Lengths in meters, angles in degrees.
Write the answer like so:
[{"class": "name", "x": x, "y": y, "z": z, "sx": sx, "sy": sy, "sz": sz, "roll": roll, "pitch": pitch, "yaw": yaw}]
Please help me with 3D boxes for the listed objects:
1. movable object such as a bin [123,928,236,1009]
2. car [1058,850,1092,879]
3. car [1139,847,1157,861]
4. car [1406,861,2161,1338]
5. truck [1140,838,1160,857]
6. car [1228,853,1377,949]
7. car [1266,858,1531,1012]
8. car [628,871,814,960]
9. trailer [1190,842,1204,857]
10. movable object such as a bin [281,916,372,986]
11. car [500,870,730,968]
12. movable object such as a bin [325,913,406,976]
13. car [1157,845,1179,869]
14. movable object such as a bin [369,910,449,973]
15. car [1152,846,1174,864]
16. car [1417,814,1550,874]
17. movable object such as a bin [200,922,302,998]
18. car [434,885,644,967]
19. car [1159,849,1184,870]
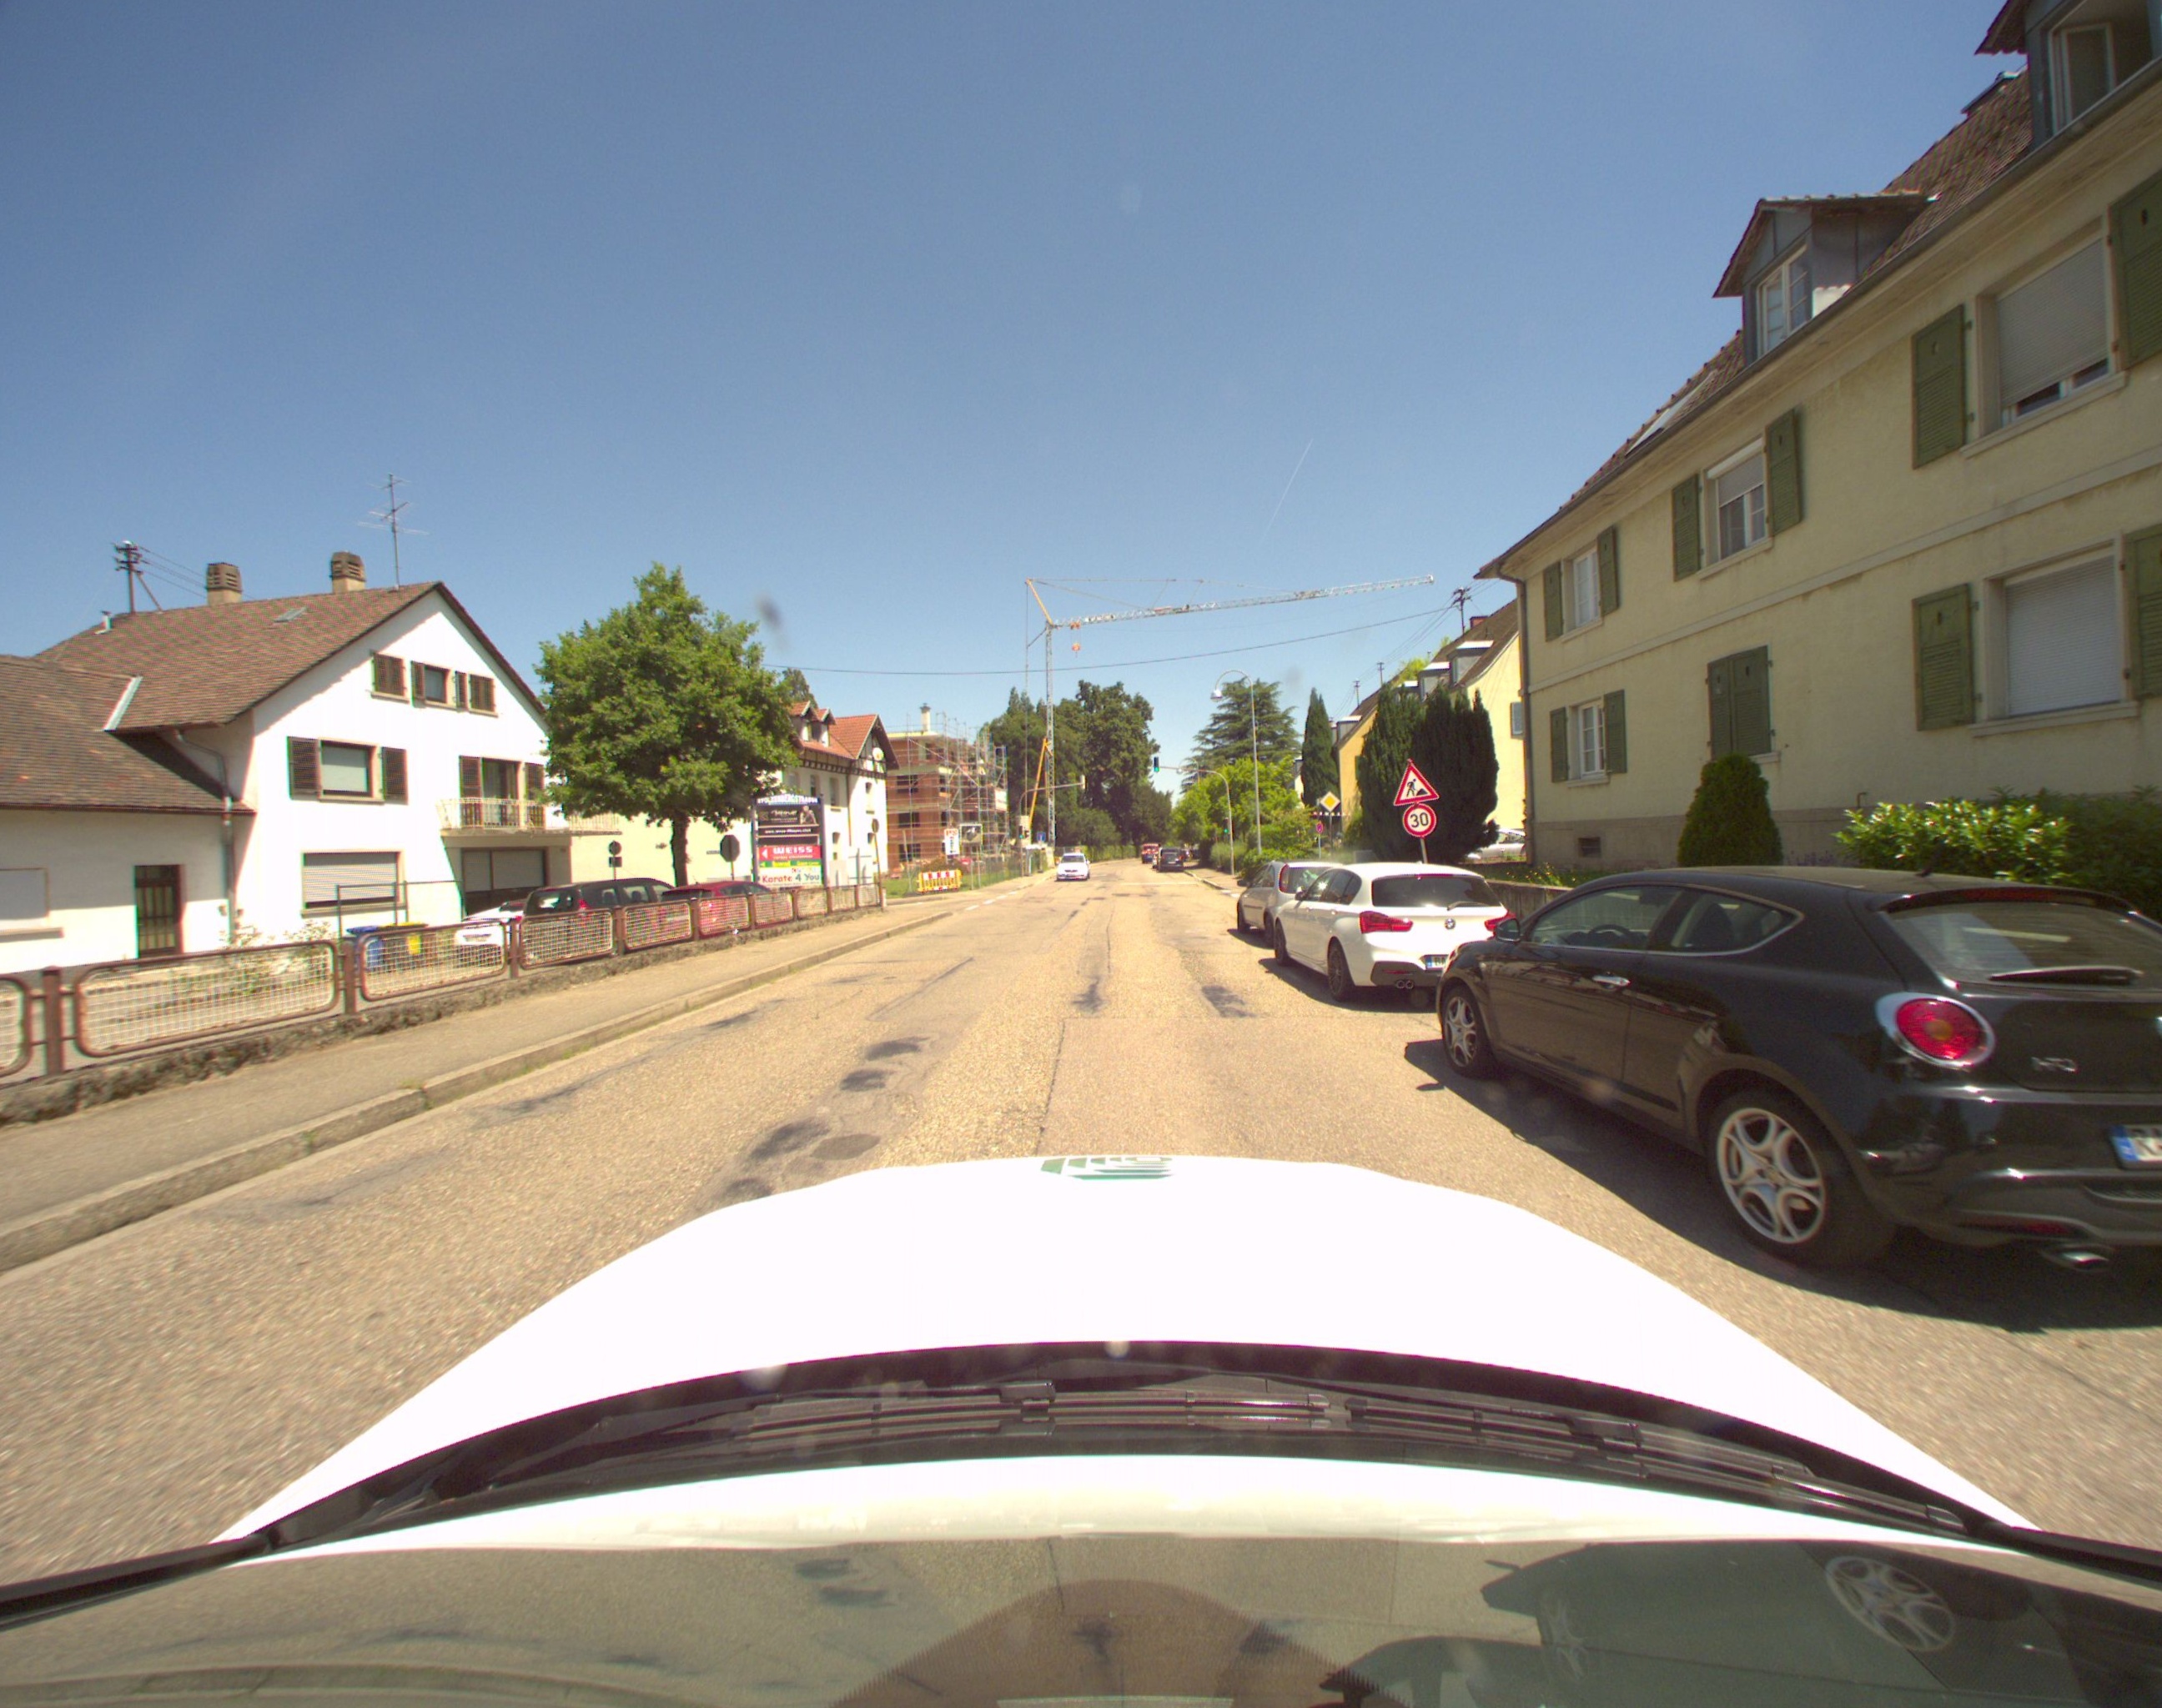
[{"class": "movable object such as a bin", "x": -15.157, "y": 1.910, "z": 13.712, "sx": 0.879, "sy": 1.211, "sz": 0.908, "roll": -4, "pitch": 0, "yaw": 14}, {"class": "car", "x": -0.336, "y": 0.574, "z": 47.983, "sx": 1.645, "sy": 1.562, "sz": 3.889, "roll": -3, "pitch": 0, "yaw": 3}, {"class": "car", "x": 7.317, "y": -0.021, "z": 88.579, "sx": 1.784, "sy": 1.510, "sz": 4.009, "roll": 0, "pitch": 0, "yaw": 8}, {"class": "car", "x": 3.377, "y": 0.760, "z": 4.486, "sx": 1.591, "sy": 1.430, "sz": 3.999, "roll": 0, "pitch": 0, "yaw": 0}, {"class": "truck", "x": 9.535, "y": -0.920, "z": 112.049, "sx": 2.114, "sy": 2.338, "sz": 6.453, "roll": -3, "pitch": 0, "yaw": 10}, {"class": "car", "x": 3.860, "y": 0.739, "z": 14.840, "sx": 1.661, "sy": 1.465, "sz": 4.000, "roll": 0, "pitch": 0, "yaw": 0}, {"class": "car", "x": 3.459, "y": 0.774, "z": 9.708, "sx": 1.660, "sy": 1.435, "sz": 4.001, "roll": 0, "pitch": 0, "yaw": 1}, {"class": "car", "x": -7.713, "y": 1.255, "z": 17.935, "sx": 1.784, "sy": 1.518, "sz": 4.010, "roll": -4, "pitch": 0, "yaw": 8}, {"class": "trailer", "x": 16.859, "y": -0.669, "z": 117.999, "sx": 1.668, "sy": 2.067, "sz": 3.721, "roll": 0, "pitch": 1, "yaw": 13}, {"class": "movable object such as a bin", "x": -14.690, "y": 1.884, "z": 15.871, "sx": 0.879, "sy": 1.211, "sz": 0.908, "roll": -4, "pitch": 0, "yaw": 14}, {"class": "car", "x": -10.210, "y": 1.343, "z": 18.368, "sx": 1.782, "sy": 1.678, "sz": 4.639, "roll": -4, "pitch": 0, "yaw": 12}, {"class": "movable object such as a bin", "x": -15.315, "y": 1.922, "z": 17.457, "sx": 0.879, "sy": 1.211, "sz": 0.908, "roll": -4, "pitch": 0, "yaw": 14}, {"class": "car", "x": 6.793, "y": 0.198, "z": 63.418, "sx": 1.653, "sy": 1.803, "sz": 4.210, "roll": 1, "pitch": 1, "yaw": 6}, {"class": "movable object such as a bin", "x": -14.353, "y": 1.851, "z": 17.419, "sx": 0.879, "sy": 1.211, "sz": 0.908, "roll": -4, "pitch": 0, "yaw": 14}, {"class": "car", "x": 6.958, "y": 0.048, "z": 68.839, "sx": 1.652, "sy": 1.435, "sz": 4.138, "roll": 0, "pitch": 0, "yaw": 8}, {"class": "car", "x": 12.844, "y": -0.327, "z": 26.170, "sx": 3.386, "sy": 1.452, "sz": 1.616, "roll": -7, "pitch": 0, "yaw": 8}, {"class": "movable object such as a bin", "x": -14.932, "y": 1.900, "z": 14.668, "sx": 0.879, "sy": 1.211, "sz": 0.908, "roll": -4, "pitch": 0, "yaw": 14}, {"class": "car", "x": -12.480, "y": 1.602, "z": 19.122, "sx": 1.784, "sy": 1.433, "sz": 4.010, "roll": -4, "pitch": 0, "yaw": 8}, {"class": "car", "x": 6.465, "y": 0.359, "z": 58.743, "sx": 1.621, "sy": 1.463, "sz": 4.021, "roll": 1, "pitch": 1, "yaw": 4}]
